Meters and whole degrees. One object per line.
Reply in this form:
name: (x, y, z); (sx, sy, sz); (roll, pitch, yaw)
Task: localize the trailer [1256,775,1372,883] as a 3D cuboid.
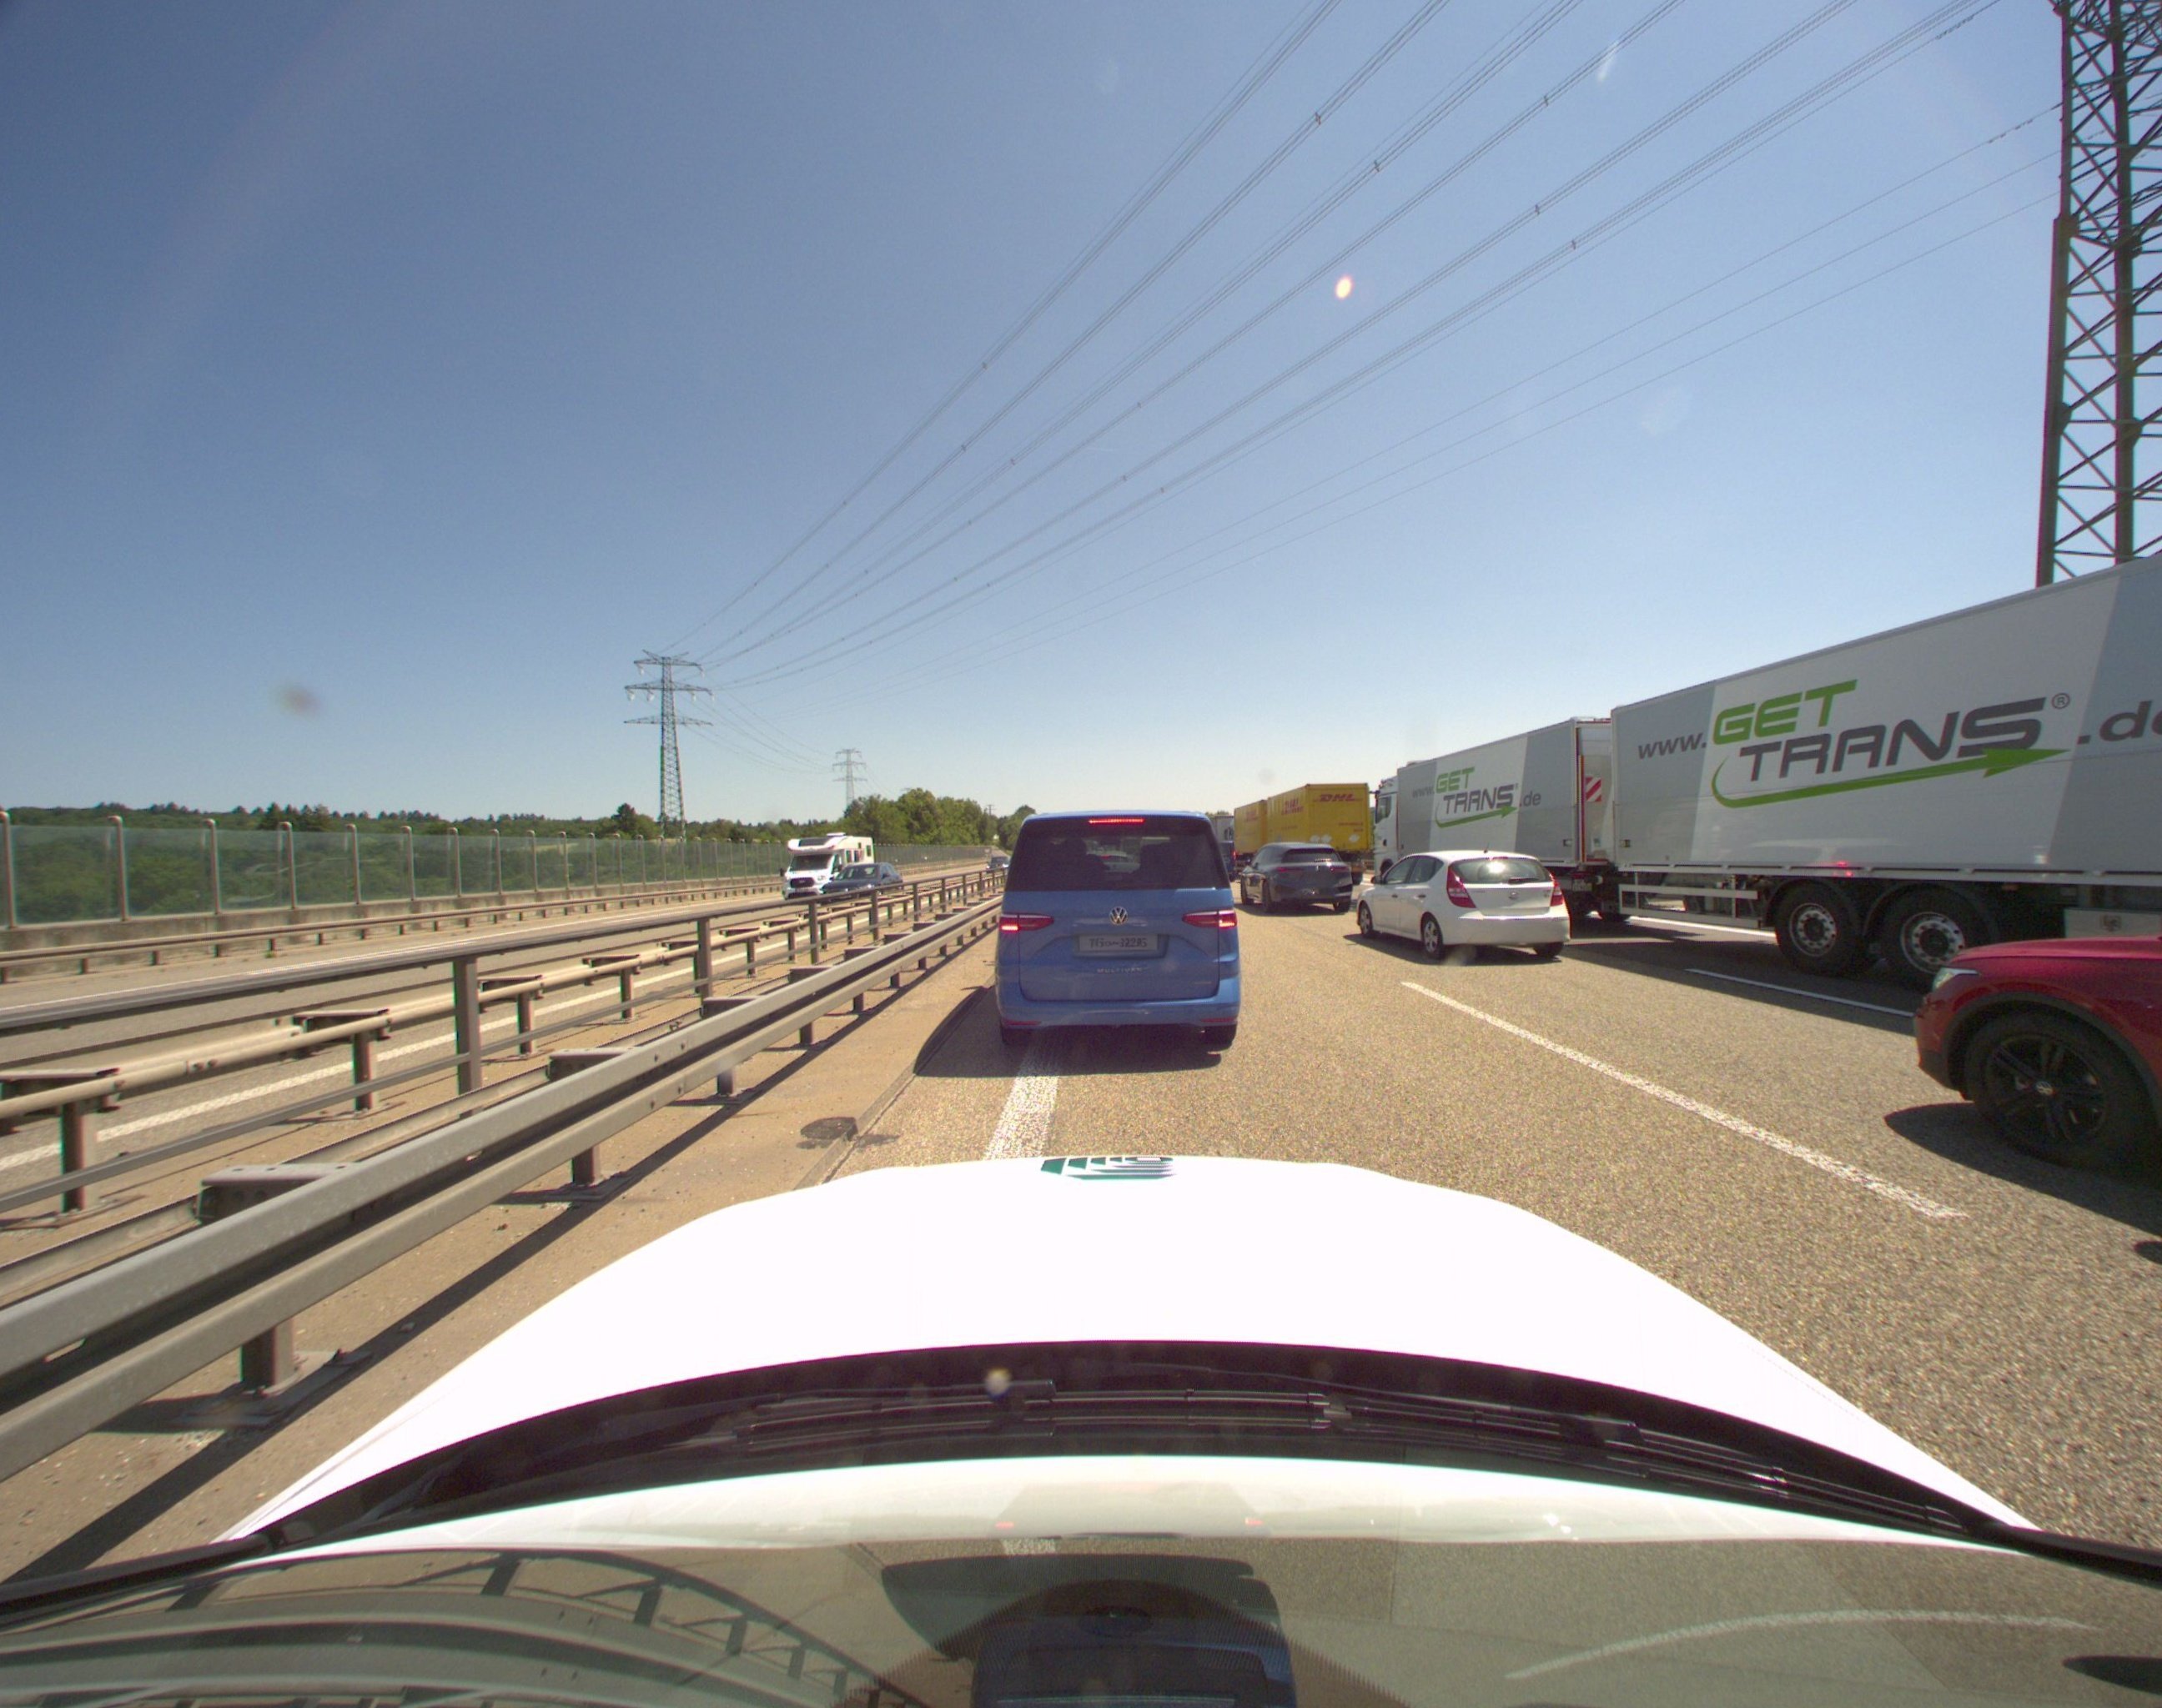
trailer: (10.163, -0.952, 36.604); (2.854, 4.239, 9.014); (-1, 0, 2)

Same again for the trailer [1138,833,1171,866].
trailer: (7.070, -0.356, 79.465); (2.559, 2.990, 10.667); (-1, 0, 2)

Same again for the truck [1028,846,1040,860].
truck: (-11.973, -0.264, 208.371); (2.488, 3.365, 5.836); (-4, 0, 2)

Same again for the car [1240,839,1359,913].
car: (5.363, 0.497, 20.579); (1.955, 1.644, 4.295); (-1, 0, 2)

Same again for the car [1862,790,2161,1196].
car: (5.273, 0.553, 2.489); (1.769, 1.662, 4.225); (-1, 0, 1)

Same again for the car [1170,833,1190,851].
car: (11.721, -1.356, 96.642); (1.986, 2.013, 4.463); (-2, 0, 2)

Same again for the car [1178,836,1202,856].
car: (11.064, -0.767, 82.616); (1.986, 2.014, 4.002); (-1, 0, 2)

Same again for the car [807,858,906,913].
car: (-7.466, 0.995, 27.598); (1.860, 1.531, 4.426); (-5, 0, 2)

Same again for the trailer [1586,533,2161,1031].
trailer: (9.452, -0.567, 9.120); (2.688, 3.700, 8.017); (-1, 0, 1)

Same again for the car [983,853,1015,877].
car: (-6.545, 0.841, 65.384); (1.860, 1.699, 4.432); (-6, 0, 1)

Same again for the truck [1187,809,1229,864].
truck: (10.756, -1.413, 69.482); (2.657, 4.484, 6.852); (-1, 0, 2)

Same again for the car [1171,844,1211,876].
car: (6.572, 0.360, 49.144); (1.986, 1.816, 4.002); (-1, 0, 2)

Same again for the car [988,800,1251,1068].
car: (0.336, 0.565, 7.715); (1.813, 1.857, 4.076); (-1, 0, 2)

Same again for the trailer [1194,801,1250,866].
trailer: (10.566, -1.421, 62.271); (2.627, 4.516, 11.305); (-1, 0, 2)

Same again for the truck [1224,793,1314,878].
truck: (10.445, -0.914, 46.606); (2.826, 4.243, 11.013); (-1, 0, 1)

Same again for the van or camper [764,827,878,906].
van or camper: (-11.247, 0.501, 36.040); (2.413, 3.023, 7.030); (-3, 0, 2)

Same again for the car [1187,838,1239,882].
car: (6.414, 0.266, 40.055); (1.955, 1.993, 4.295); (-1, 0, 2)

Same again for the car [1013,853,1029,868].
car: (-9.821, 0.991, 132.982); (1.986, 2.215, 4.269); (-4, 0, 1)

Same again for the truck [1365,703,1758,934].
truck: (9.657, -0.582, 18.621); (2.647, 3.648, 11.013); (-1, 0, 1)

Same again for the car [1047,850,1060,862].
car: (-5.006, 0.372, 149.303); (1.856, 2.131, 4.270); (-4, 0, 2)

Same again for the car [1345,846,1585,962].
car: (5.625, 0.637, 12.607); (1.782, 1.455, 4.295); (-1, 0, 2)
